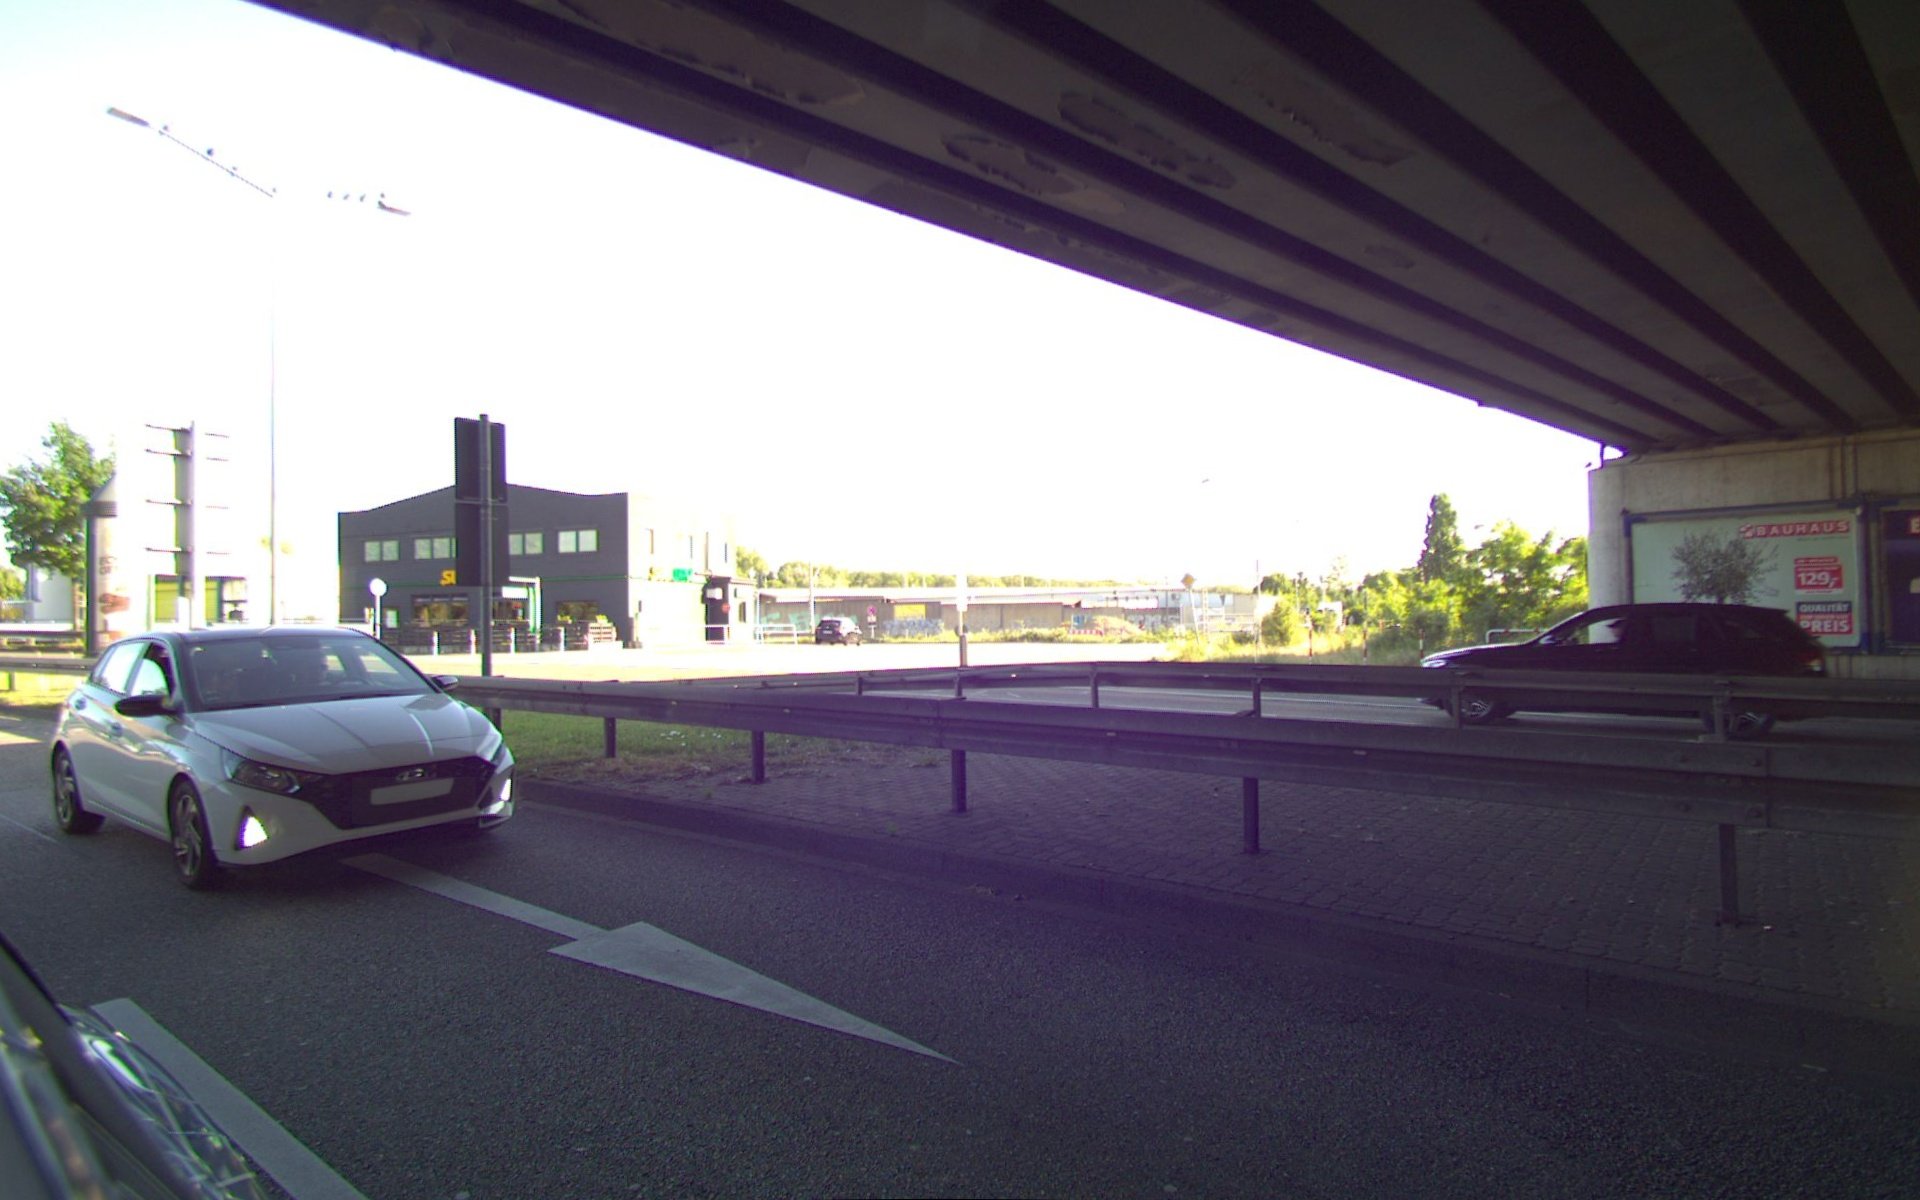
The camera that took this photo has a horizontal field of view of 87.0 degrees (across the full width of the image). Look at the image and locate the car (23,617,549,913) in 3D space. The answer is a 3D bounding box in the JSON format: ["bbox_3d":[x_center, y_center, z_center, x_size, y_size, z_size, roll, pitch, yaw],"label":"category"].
[{"bbox_3d":[-4.651,0.868,6.809,3.863,1.414,1.717,-2,-1,36],"label":"car"}]

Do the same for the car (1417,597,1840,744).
[{"bbox_3d":[8.553,0.837,13.287,4.357,1.629,1.834,-1,-2,37],"label":"car"}]

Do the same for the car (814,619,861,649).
[{"bbox_3d":[-6.626,1.794,54.974,1.858,1.453,3.996,-1,0,3],"label":"car"}]
